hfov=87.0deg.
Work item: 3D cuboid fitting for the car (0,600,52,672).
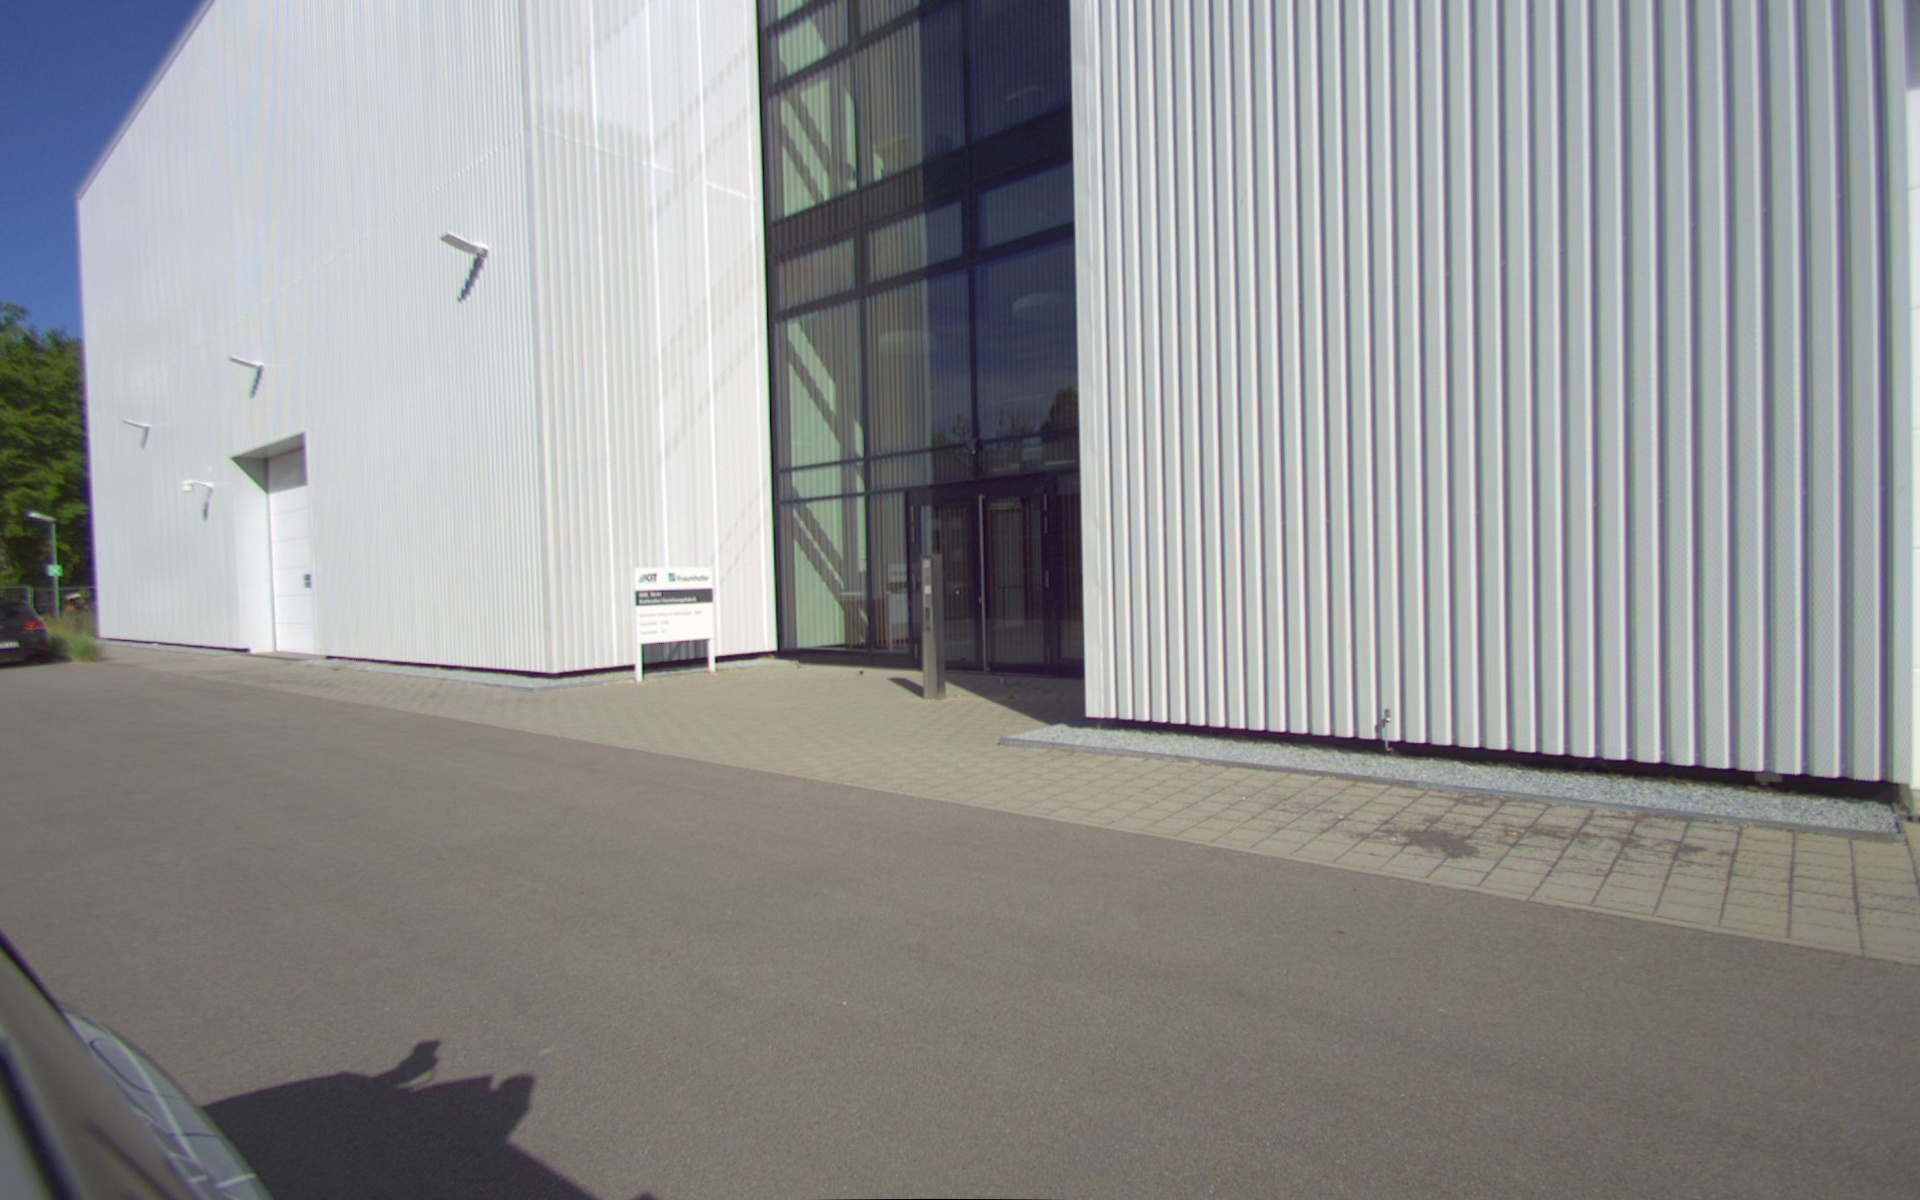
[{"bbox_3d":[-21.874,0.826,22.662,4.312,1.456,1.738,-1,3,41],"label":"car"}]

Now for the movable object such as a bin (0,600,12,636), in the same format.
[{"bbox_3d":[-40.809,0.785,42.634,1.279,1.489,1.126,-2,-1,41],"label":"movable object such as a bin"}]

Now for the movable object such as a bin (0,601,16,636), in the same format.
[{"bbox_3d":[-39.790,0.768,41.728,1.288,1.445,1.126,-1,0,41],"label":"movable object such as a bin"}]

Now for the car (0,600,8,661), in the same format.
[{"bbox_3d":[-25.546,0.832,25.664,3.518,1.499,1.533,-1,3,39],"label":"car"}]
